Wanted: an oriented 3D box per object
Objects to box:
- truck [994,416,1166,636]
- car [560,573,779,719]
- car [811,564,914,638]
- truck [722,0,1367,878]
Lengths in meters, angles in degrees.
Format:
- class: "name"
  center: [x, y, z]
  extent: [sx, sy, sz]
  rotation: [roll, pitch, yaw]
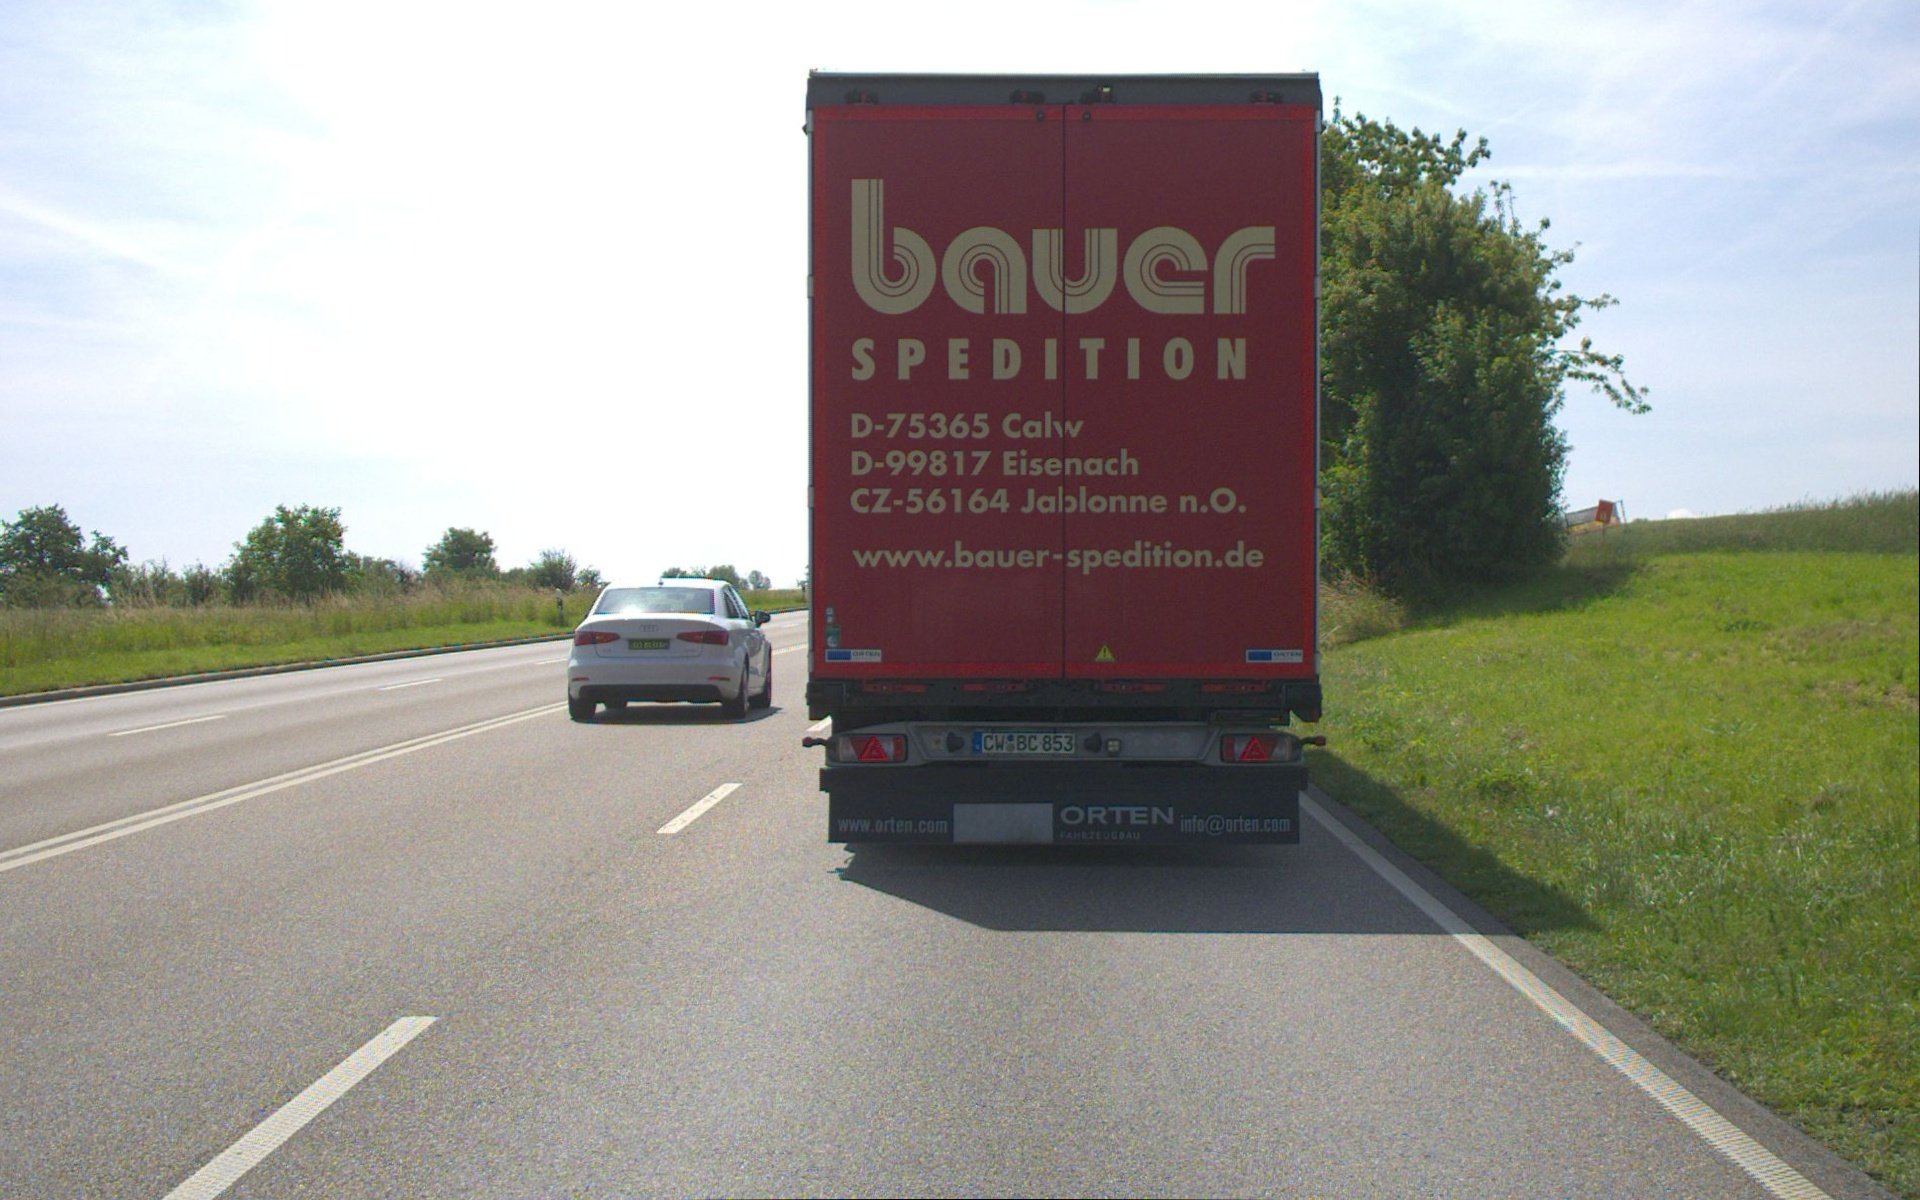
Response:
- class: "truck"
  center: [2.522, -1.383, 68.655]
  extent: [3.047, 3.897, 15.614]
  rotation: [0, 1, 3]
- class: "car"
  center: [-2.918, 0.426, 35.394]
  extent: [1.703, 1.371, 4.603]
  rotation: [1, 1, 2]
- class: "car"
  center: [-2.011, 0.000, 71.990]
  extent: [1.821, 1.467, 4.788]
  rotation: [1, 1, 2]
- class: "truck"
  center: [0.340, -0.835, 24.877]
  extent: [3.007, 4.166, 16.714]
  rotation: [1, 0, 0]
